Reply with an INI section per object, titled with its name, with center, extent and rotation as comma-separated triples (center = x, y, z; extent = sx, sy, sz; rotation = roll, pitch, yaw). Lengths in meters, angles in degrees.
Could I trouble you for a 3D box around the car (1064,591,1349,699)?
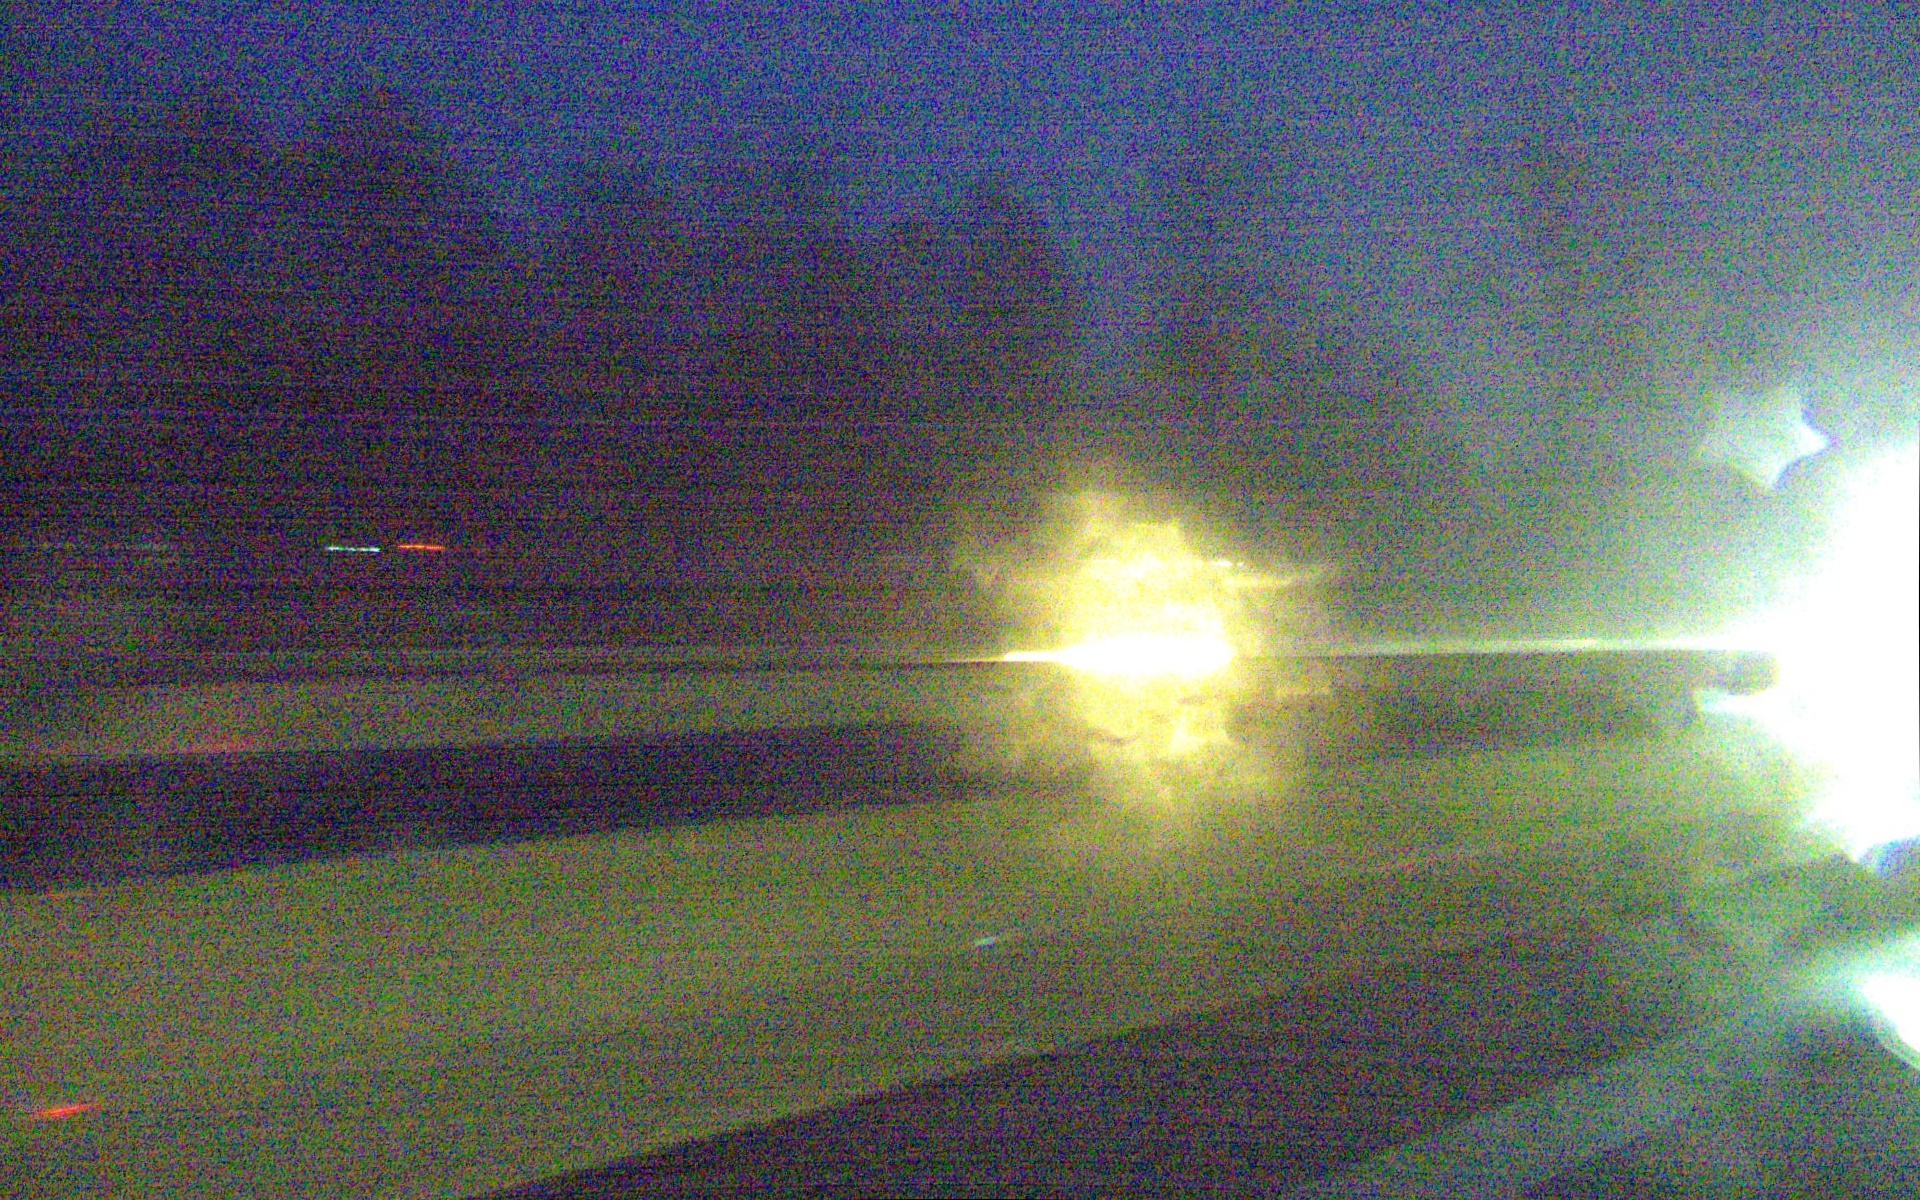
[car]
center = 3.888, 0.653, 15.712
extent = 4.237, 1.425, 1.795
rotation = 1, 2, -30
